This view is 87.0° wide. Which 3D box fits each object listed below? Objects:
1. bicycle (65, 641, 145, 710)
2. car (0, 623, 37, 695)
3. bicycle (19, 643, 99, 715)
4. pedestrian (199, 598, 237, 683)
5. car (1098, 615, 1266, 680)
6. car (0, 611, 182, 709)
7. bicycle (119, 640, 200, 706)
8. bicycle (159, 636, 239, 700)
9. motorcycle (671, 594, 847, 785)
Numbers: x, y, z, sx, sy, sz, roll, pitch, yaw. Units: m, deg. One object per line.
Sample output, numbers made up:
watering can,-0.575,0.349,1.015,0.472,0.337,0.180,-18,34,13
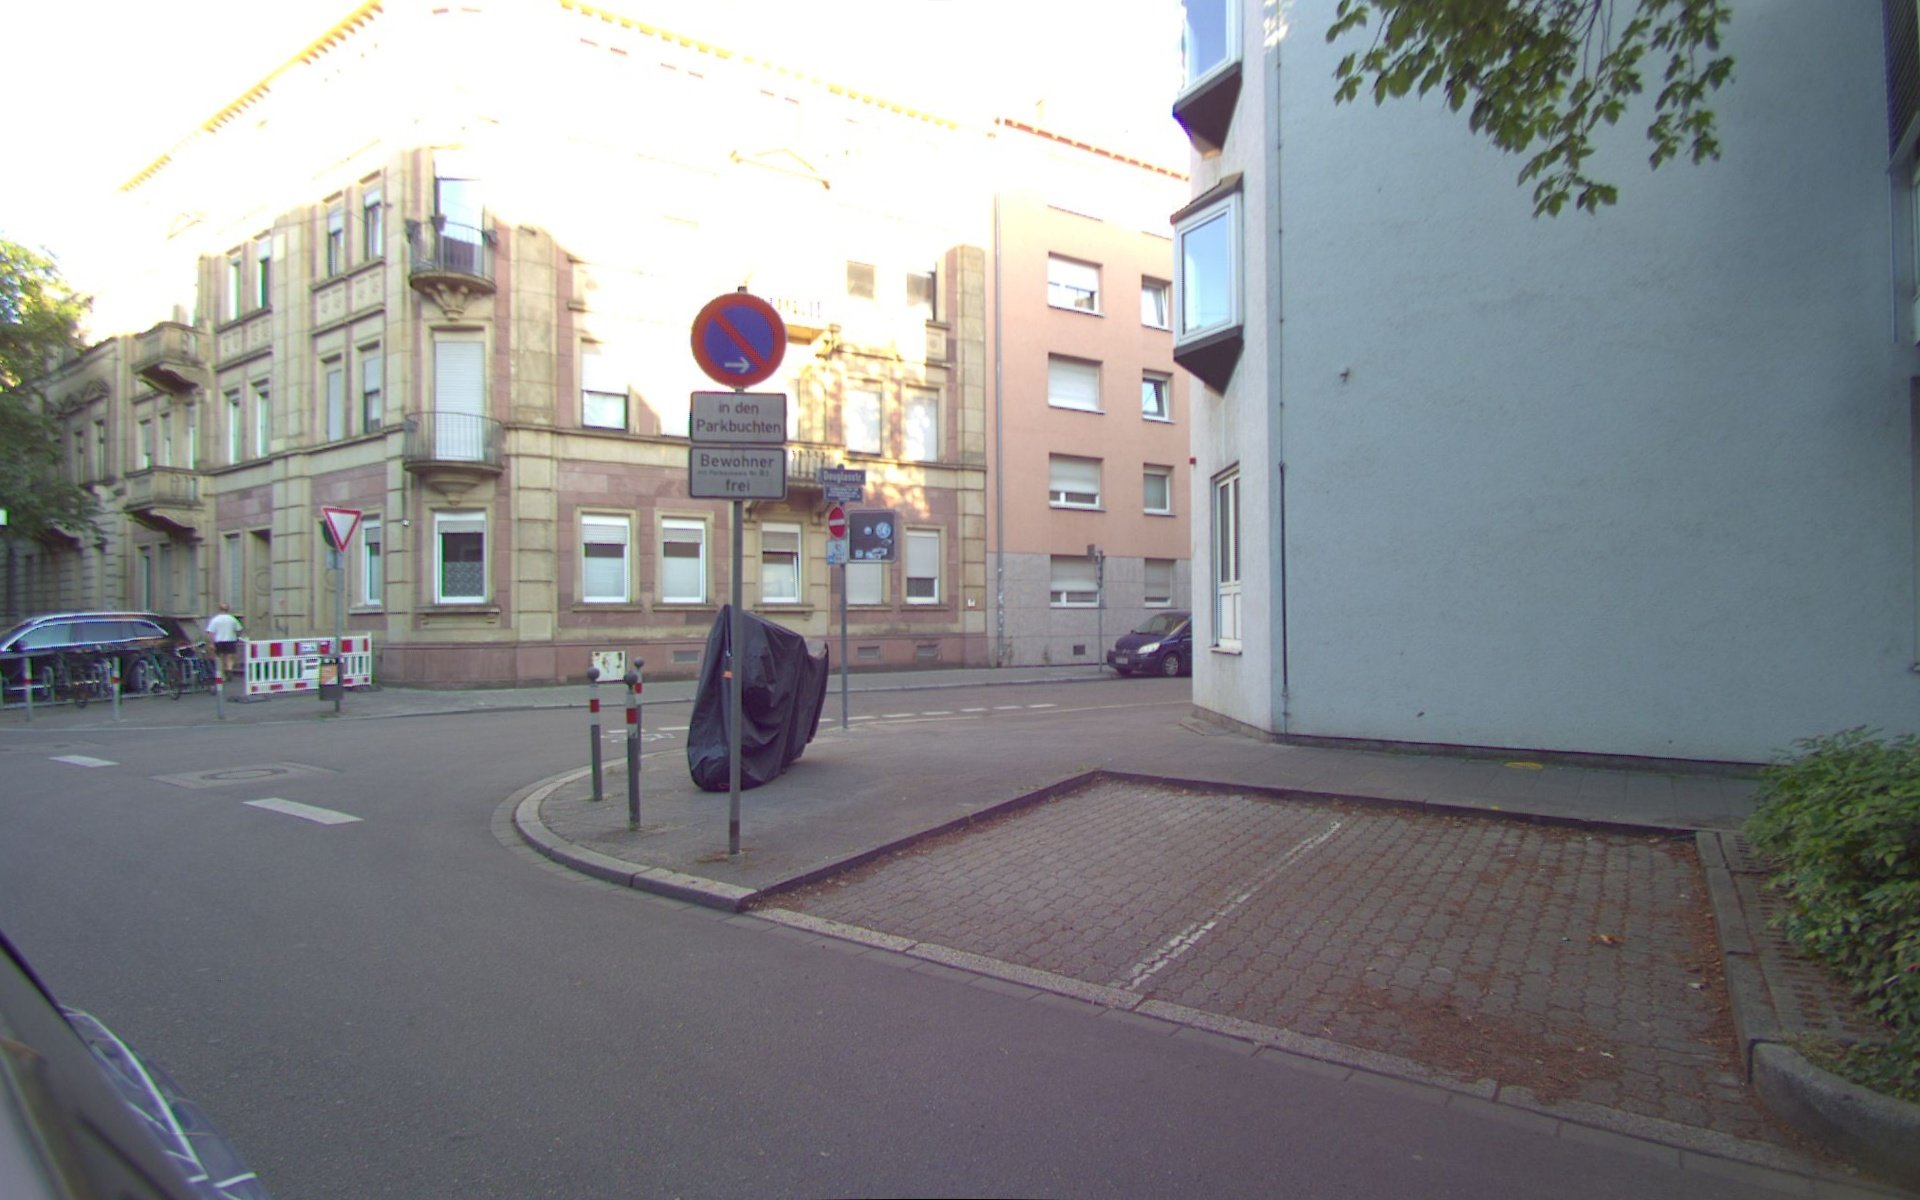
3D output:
bicycle,-15.291,1.320,18.082,2.034,1.159,0.555,-1,-1,34
car,-24.325,1.393,23.420,1.740,1.690,4.190,-1,-2,39
bicycle,-15.644,1.344,17.553,2.034,1.159,0.555,-1,-1,34
pedestrian,-16.261,0.881,22.185,0.651,1.821,0.565,-2,-2,44
car,5.716,1.151,25.885,4.297,1.529,1.789,1,-2,-36
car,-17.938,1.127,19.506,1.739,1.795,4.369,-1,-2,38
bicycle,-14.820,1.322,18.710,2.033,1.159,0.556,-1,-1,33
bicycle,-14.465,1.261,19.214,2.033,1.159,0.556,-1,-1,33
motorcycle,-1.744,0.734,9.233,0.809,1.516,2.276,-1,-1,10
